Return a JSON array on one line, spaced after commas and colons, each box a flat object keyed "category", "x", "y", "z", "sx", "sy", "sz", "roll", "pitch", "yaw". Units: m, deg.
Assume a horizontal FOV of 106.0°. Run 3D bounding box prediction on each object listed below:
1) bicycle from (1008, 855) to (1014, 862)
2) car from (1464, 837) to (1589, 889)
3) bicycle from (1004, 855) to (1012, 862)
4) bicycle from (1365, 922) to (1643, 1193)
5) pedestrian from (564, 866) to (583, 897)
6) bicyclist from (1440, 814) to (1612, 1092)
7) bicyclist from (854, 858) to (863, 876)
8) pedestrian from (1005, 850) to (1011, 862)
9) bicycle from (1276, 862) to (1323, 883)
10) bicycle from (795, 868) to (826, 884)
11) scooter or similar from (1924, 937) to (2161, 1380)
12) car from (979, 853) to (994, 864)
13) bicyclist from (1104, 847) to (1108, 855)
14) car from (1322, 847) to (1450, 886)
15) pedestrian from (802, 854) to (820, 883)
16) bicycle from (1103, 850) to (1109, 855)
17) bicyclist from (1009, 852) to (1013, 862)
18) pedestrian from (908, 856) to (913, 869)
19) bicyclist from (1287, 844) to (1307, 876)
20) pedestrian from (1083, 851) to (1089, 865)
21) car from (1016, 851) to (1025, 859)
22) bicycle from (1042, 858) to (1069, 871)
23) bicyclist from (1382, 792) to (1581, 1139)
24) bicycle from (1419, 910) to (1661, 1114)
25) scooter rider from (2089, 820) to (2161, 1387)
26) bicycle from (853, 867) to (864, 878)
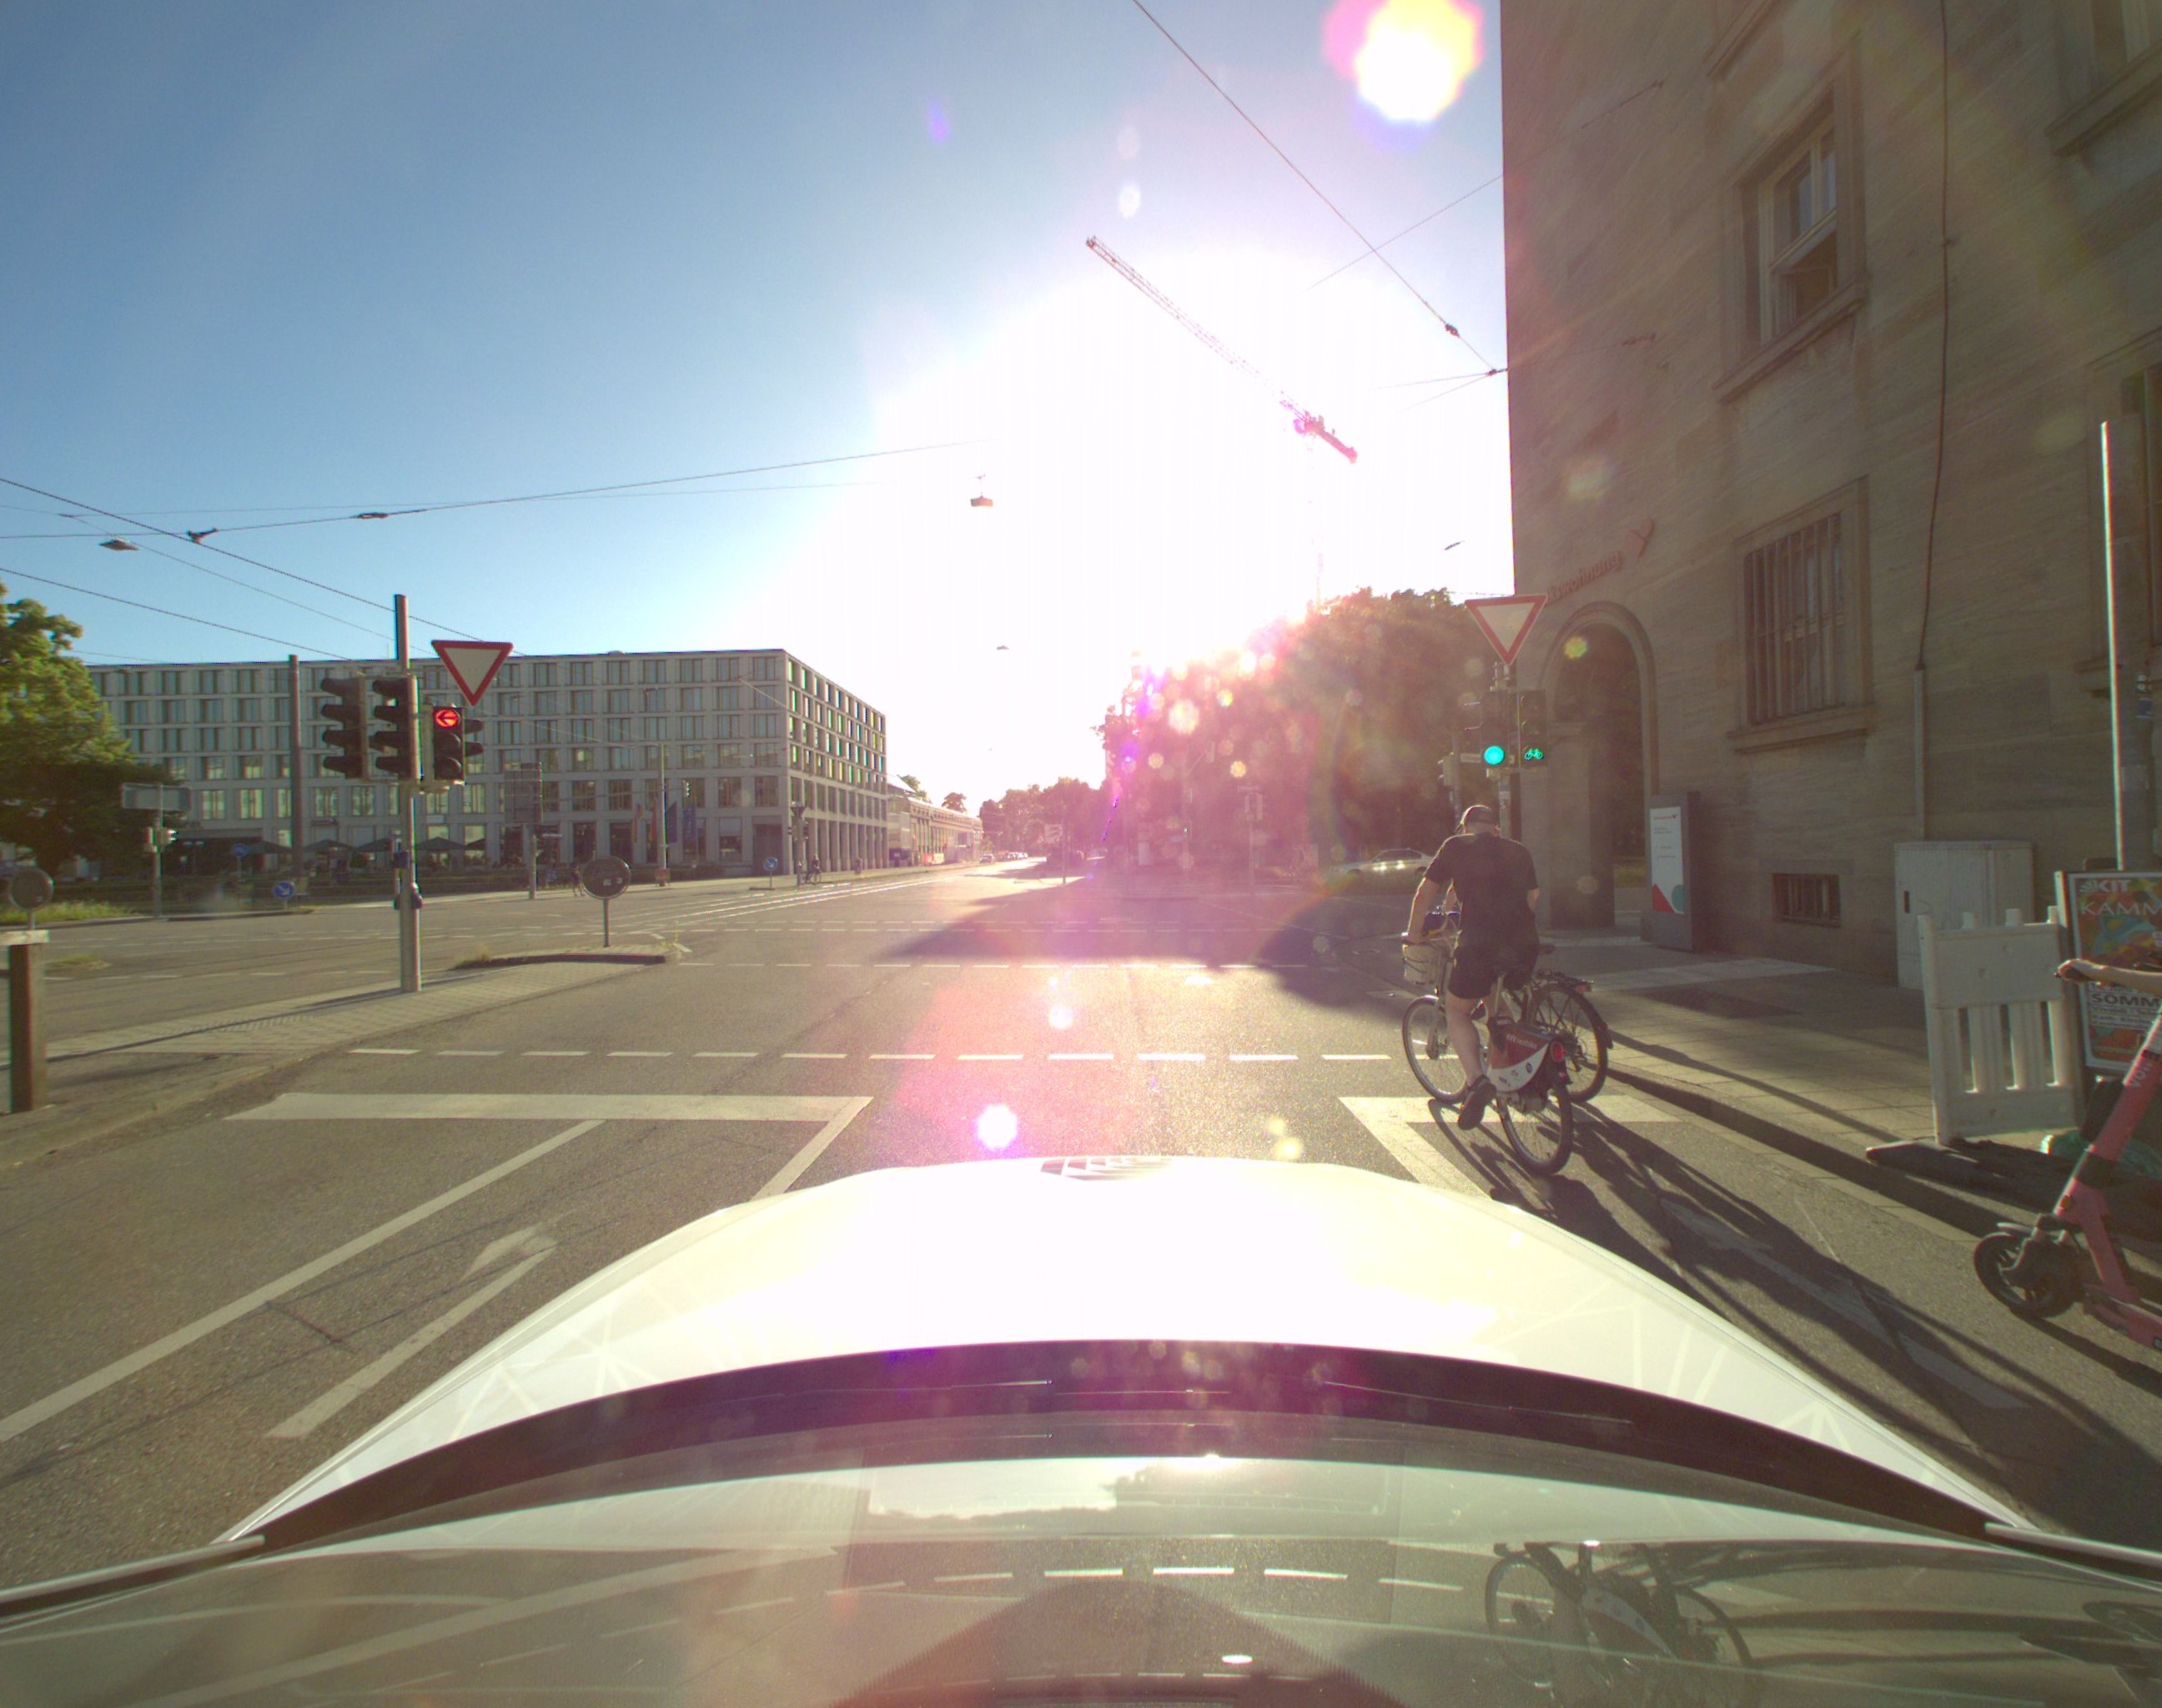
[{"category": "bicycle", "x": -13.090, "y": 0.882, "z": 152.804, "sx": 0.748, "sy": 1.205, "sz": 3.108, "roll": 0, "pitch": -1, "yaw": 1}, {"category": "car", "x": 17.883, "y": 0.353, "z": 32.861, "sx": 3.970, "sy": 2.014, "sz": 2.002, "roll": 0, "pitch": -1, "yaw": 3}, {"category": "bicycle", "x": -13.163, "y": 0.832, "z": 146.702, "sx": 0.746, "sy": 1.205, "sz": 3.114, "roll": 0, "pitch": -1, "yaw": 7}, {"category": "bicycle", "x": 2.187, "y": 0.977, "z": 4.503, "sx": 0.621, "sy": 1.044, "sz": 1.747, "roll": -2, "pitch": 0, "yaw": 1}, {"category": "pedestrian", "x": -28.291, "y": 1.542, "z": 45.371, "sx": 0.600, "sy": 1.681, "sz": 0.608, "roll": -2, "pitch": 0, "yaw": 9}, {"category": "bicyclist", "x": 3.029, "y": 0.625, "z": 5.631, "sx": 0.582, "sy": 1.738, "sz": 0.949, "roll": -2, "pitch": 0, "yaw": -4}, {"category": "bicyclist", "x": -18.723, "y": 1.105, "z": 68.499, "sx": 0.492, "sy": 1.498, "sz": 0.667, "roll": -2, "pitch": 0, "yaw": 4}, {"category": "pedestrian", "x": -13.153, "y": 0.406, "z": 146.769, "sx": 0.746, "sy": 2.063, "sz": 1.052, "roll": 0, "pitch": -1, "yaw": 7}, {"category": "bicycle", "x": 9.713, "y": 0.831, "z": 36.288, "sx": 1.932, "sy": 0.889, "sz": 0.719, "roll": -1, "pitch": -1, "yaw": 8}, {"category": "bicycle", "x": -14.775, "y": 1.187, "z": 44.540, "sx": 1.696, "sy": 0.823, "sz": 0.577, "roll": -2, "pitch": 0, "yaw": 29}, {"category": "scooter or similar", "x": 3.259, "y": 0.869, "z": 2.196, "sx": 0.572, "sy": 1.149, "sz": 1.269, "roll": -1, "pitch": -1, "yaw": -6}, {"category": "car", "x": -15.817, "y": 0.732, "z": 136.364, "sx": 1.988, "sy": 1.599, "sz": 3.999, "roll": -2, "pitch": 0, "yaw": -1}, {"category": "bicyclist", "x": 6.149, "y": -0.758, "z": 200.526, "sx": 0.891, "sy": 2.014, "sz": 0.746, "roll": 0, "pitch": -1, "yaw": -10}, {"category": "car", "x": 12.436, "y": 0.506, "z": 33.419, "sx": 4.559, "sy": 1.516, "sz": 2.001, "roll": 0, "pitch": -1, "yaw": 1}, {"category": "pedestrian", "x": -14.776, "y": 0.796, "z": 44.535, "sx": 0.735, "sy": 1.595, "sz": 0.577, "roll": -2, "pitch": 0, "yaw": 29}, {"category": "bicycle", "x": 6.111, "y": -0.354, "z": 200.857, "sx": 0.890, "sy": 1.219, "sz": 2.784, "roll": 0, "pitch": -1, "yaw": -9}, {"category": "bicyclist", "x": -13.104, "y": 0.522, "z": 152.688, "sx": 0.748, "sy": 1.920, "sz": 1.214, "roll": 0, "pitch": -1, "yaw": 1}, {"category": "pedestrian", "x": -25.472, "y": 1.246, "z": 121.434, "sx": 0.585, "sy": 1.889, "sz": 0.478, "roll": 0, "pitch": -1, "yaw": 1}, {"category": "bicyclist", "x": 9.620, "y": 0.268, "z": 36.300, "sx": 0.742, "sy": 1.406, "sz": 0.704, "roll": -1, "pitch": -1, "yaw": 8}, {"category": "pedestrian", "x": 0.564, "y": 0.469, "z": 97.791, "sx": 0.576, "sy": 1.689, "sz": 0.584, "roll": -2, "pitch": 0, "yaw": -6}, {"category": "car", "x": -14.455, "y": 0.253, "z": 195.329, "sx": 1.988, "sy": 1.644, "sz": 3.998, "roll": -2, "pitch": 0, "yaw": -1}, {"category": "bicycle", "x": -2.127, "y": 0.859, "z": 67.429, "sx": 2.240, "sy": 0.940, "sz": 0.653, "roll": -2, "pitch": 0, "yaw": -4}, {"category": "bicyclist", "x": 2.169, "y": 0.557, "z": 4.527, "sx": 0.621, "sy": 1.715, "sz": 0.913, "roll": -2, "pitch": 0, "yaw": 1}, {"category": "bicycle", "x": 3.030, "y": 0.975, "z": 5.601, "sx": 0.581, "sy": 1.044, "sz": 1.745, "roll": -2, "pitch": 0, "yaw": -3}, {"category": "scooter rider", "x": 3.271, "y": 0.681, "z": 2.139, "sx": 0.545, "sy": 1.562, "sz": 0.574, "roll": -1, "pitch": -1, "yaw": -13}, {"category": "bicycle", "x": -18.712, "y": 1.556, "z": 68.501, "sx": 0.492, "sy": 0.839, "sz": 1.158, "roll": -2, "pitch": 0, "yaw": 4}]
